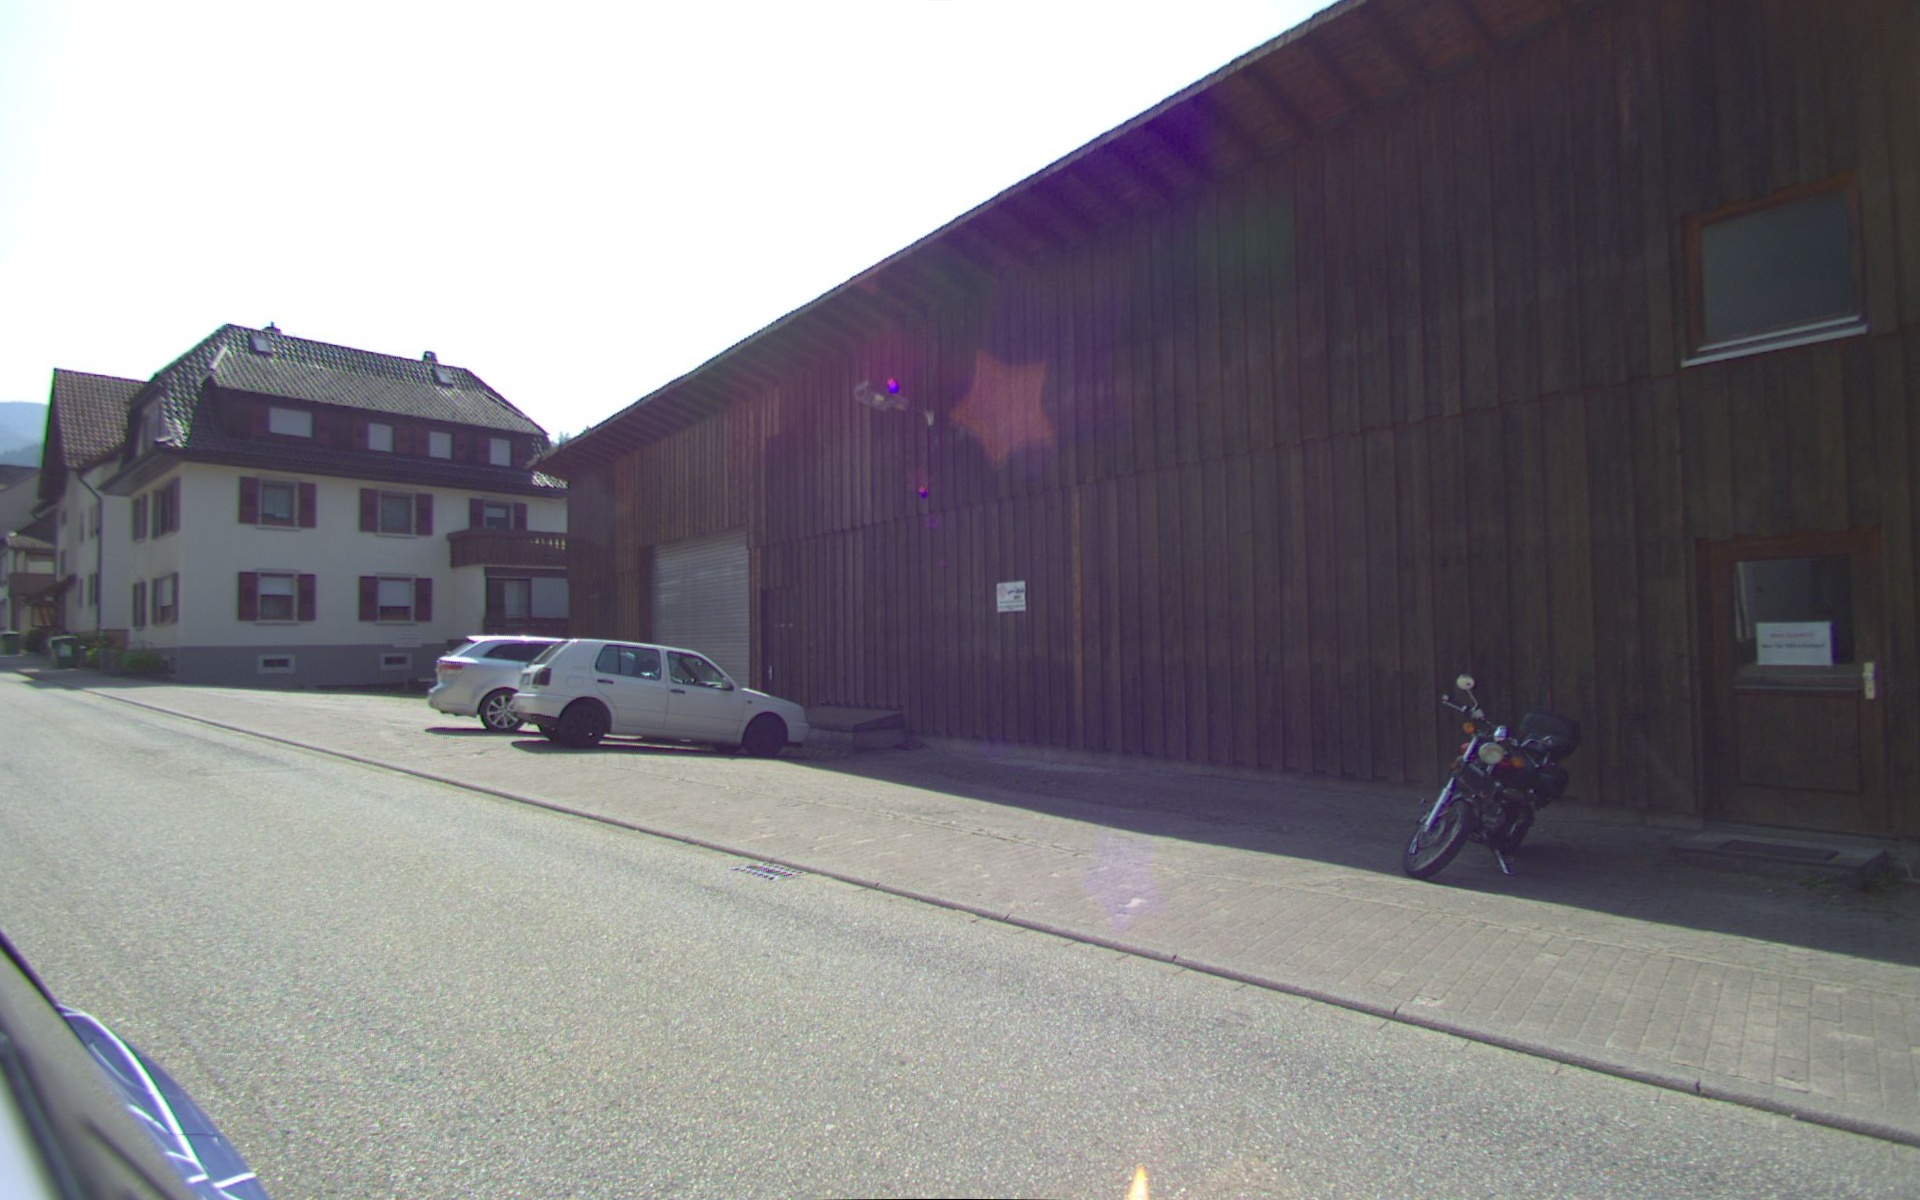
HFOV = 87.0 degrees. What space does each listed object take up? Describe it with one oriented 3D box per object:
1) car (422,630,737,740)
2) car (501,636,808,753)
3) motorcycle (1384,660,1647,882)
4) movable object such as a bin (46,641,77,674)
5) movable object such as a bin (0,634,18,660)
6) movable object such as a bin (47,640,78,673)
[{"bbox_3d":[-5.997,1.376,16.158,4.367,1.486,1.930,5,-5,-24],"label":"car"},{"bbox_3d":[-4.149,1.313,13.914,3.609,1.396,1.715,6,-5,-33],"label":"car"},{"bbox_3d":[3.915,1.073,7.029,2.378,1.274,0.744,2,-3,-39],"label":"motorcycle"},{"bbox_3d":[-29.762,1.890,33.516,0.621,1.075,0.669,-1,-2,40],"label":"movable object such as a bin"},{"bbox_3d":[-44.643,2.193,47.387,0.598,1.190,0.710,-2,-4,42],"label":"movable object such as a bin"},{"bbox_3d":[-30.355,1.906,34.240,0.653,1.075,0.669,-1,-2,40],"label":"movable object such as a bin"}]
